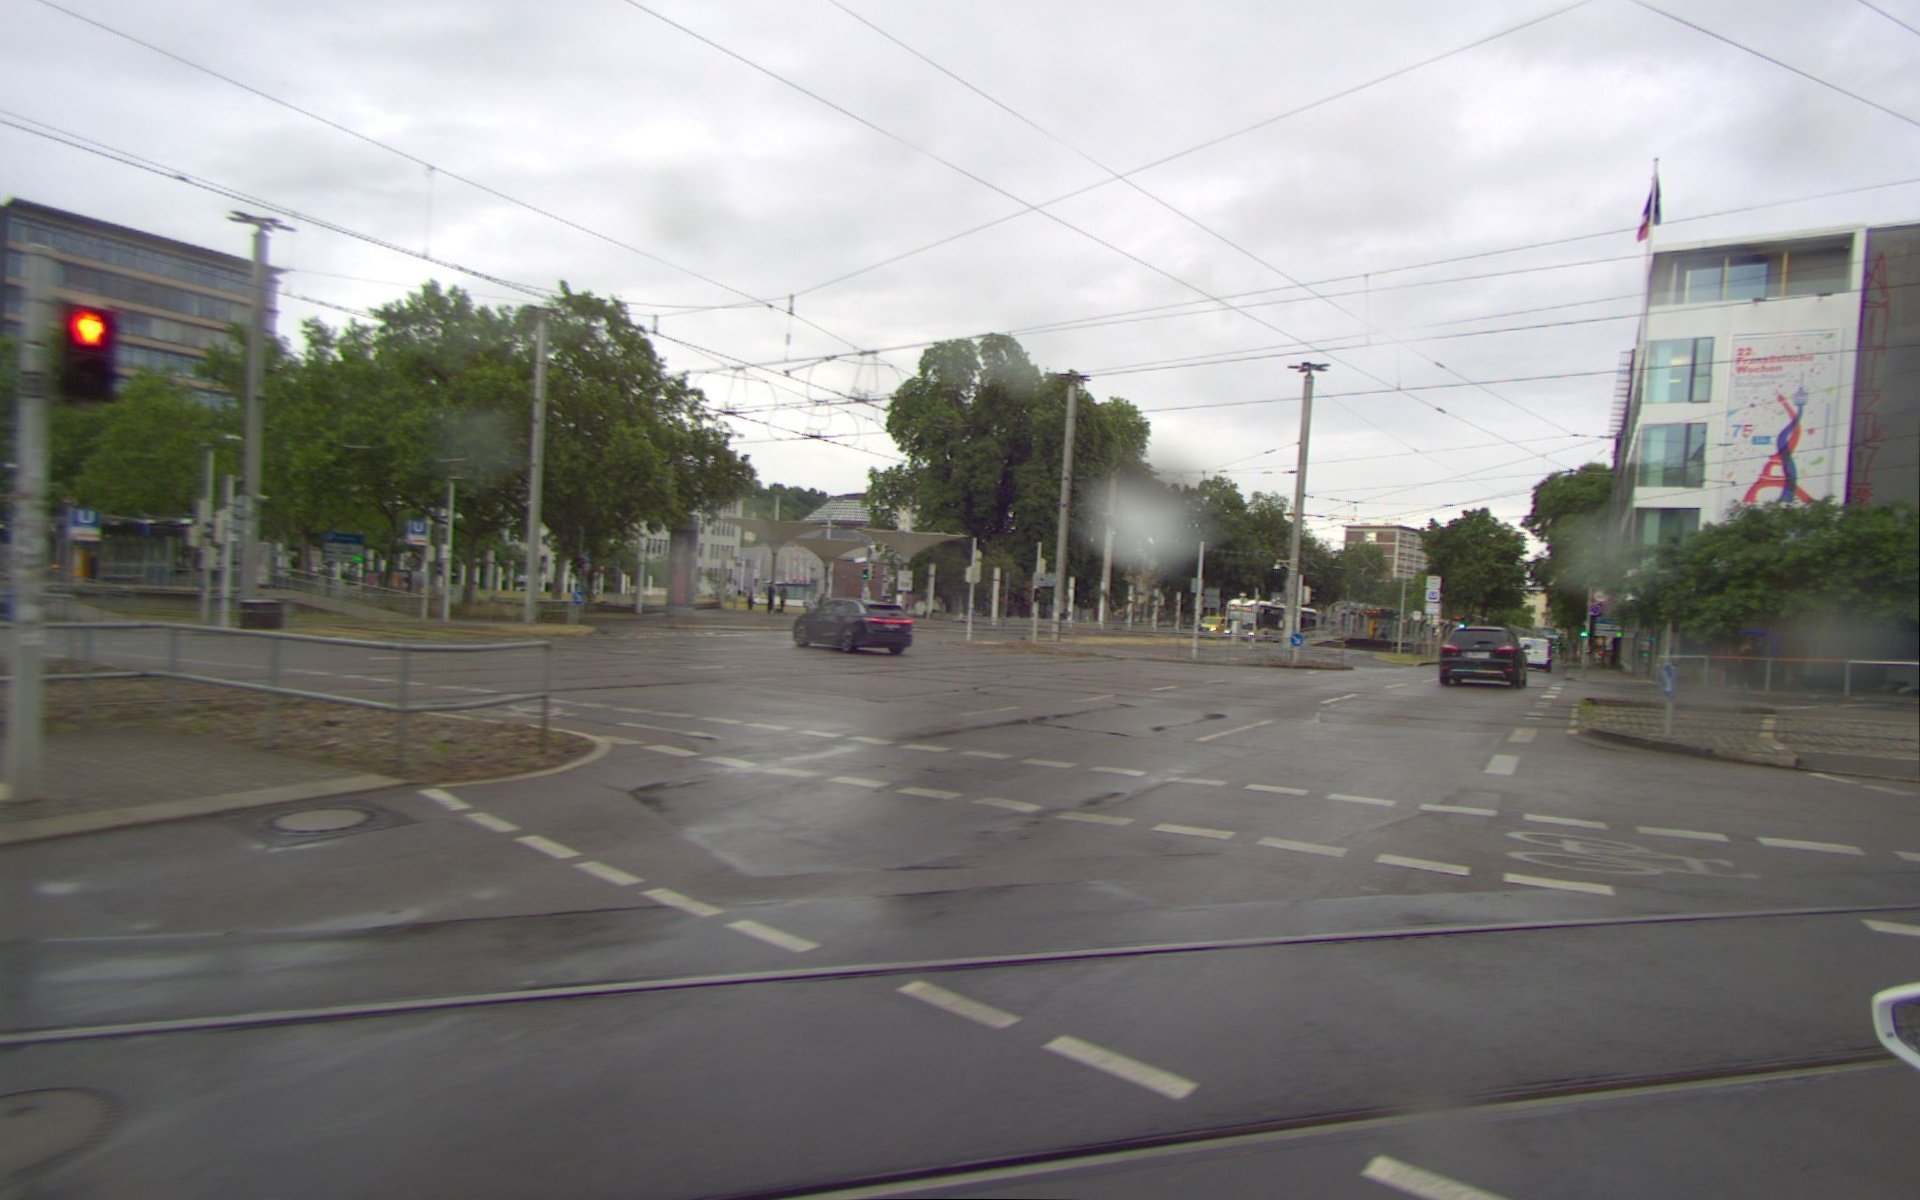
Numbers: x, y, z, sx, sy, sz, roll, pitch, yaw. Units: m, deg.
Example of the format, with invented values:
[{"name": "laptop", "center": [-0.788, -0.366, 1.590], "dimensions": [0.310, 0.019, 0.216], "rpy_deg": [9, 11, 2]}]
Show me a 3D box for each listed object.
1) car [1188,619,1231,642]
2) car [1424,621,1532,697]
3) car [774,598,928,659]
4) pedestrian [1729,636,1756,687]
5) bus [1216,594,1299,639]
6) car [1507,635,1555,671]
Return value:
[{"name": "car", "center": [20.310, 2.467, 81.502], "dimensions": [1.966, 1.667, 4.524], "rpy_deg": [2, 0, 33]}, {"name": "car", "center": [13.334, 1.418, 25.708], "dimensions": [2.007, 1.605, 4.381], "rpy_deg": [4, 1, 32]}, {"name": "car", "center": [-3.277, 0.787, 29.400], "dimensions": [2.091, 1.526, 4.671], "rpy_deg": [2, 0, -43]}, {"name": "pedestrian", "center": [25.104, 1.971, 32.219], "dimensions": [0.516, 1.584, 0.537], "rpy_deg": [2, 0, -37]}, {"name": "bus", "center": [24.786, 1.386, 83.127], "dimensions": [3.034, 3.344, 12.488], "rpy_deg": [2, 0, 33]}, {"name": "car", "center": [33.319, 3.045, 58.530], "dimensions": [2.008, 1.864, 4.379], "rpy_deg": [4, 1, 34]}]
